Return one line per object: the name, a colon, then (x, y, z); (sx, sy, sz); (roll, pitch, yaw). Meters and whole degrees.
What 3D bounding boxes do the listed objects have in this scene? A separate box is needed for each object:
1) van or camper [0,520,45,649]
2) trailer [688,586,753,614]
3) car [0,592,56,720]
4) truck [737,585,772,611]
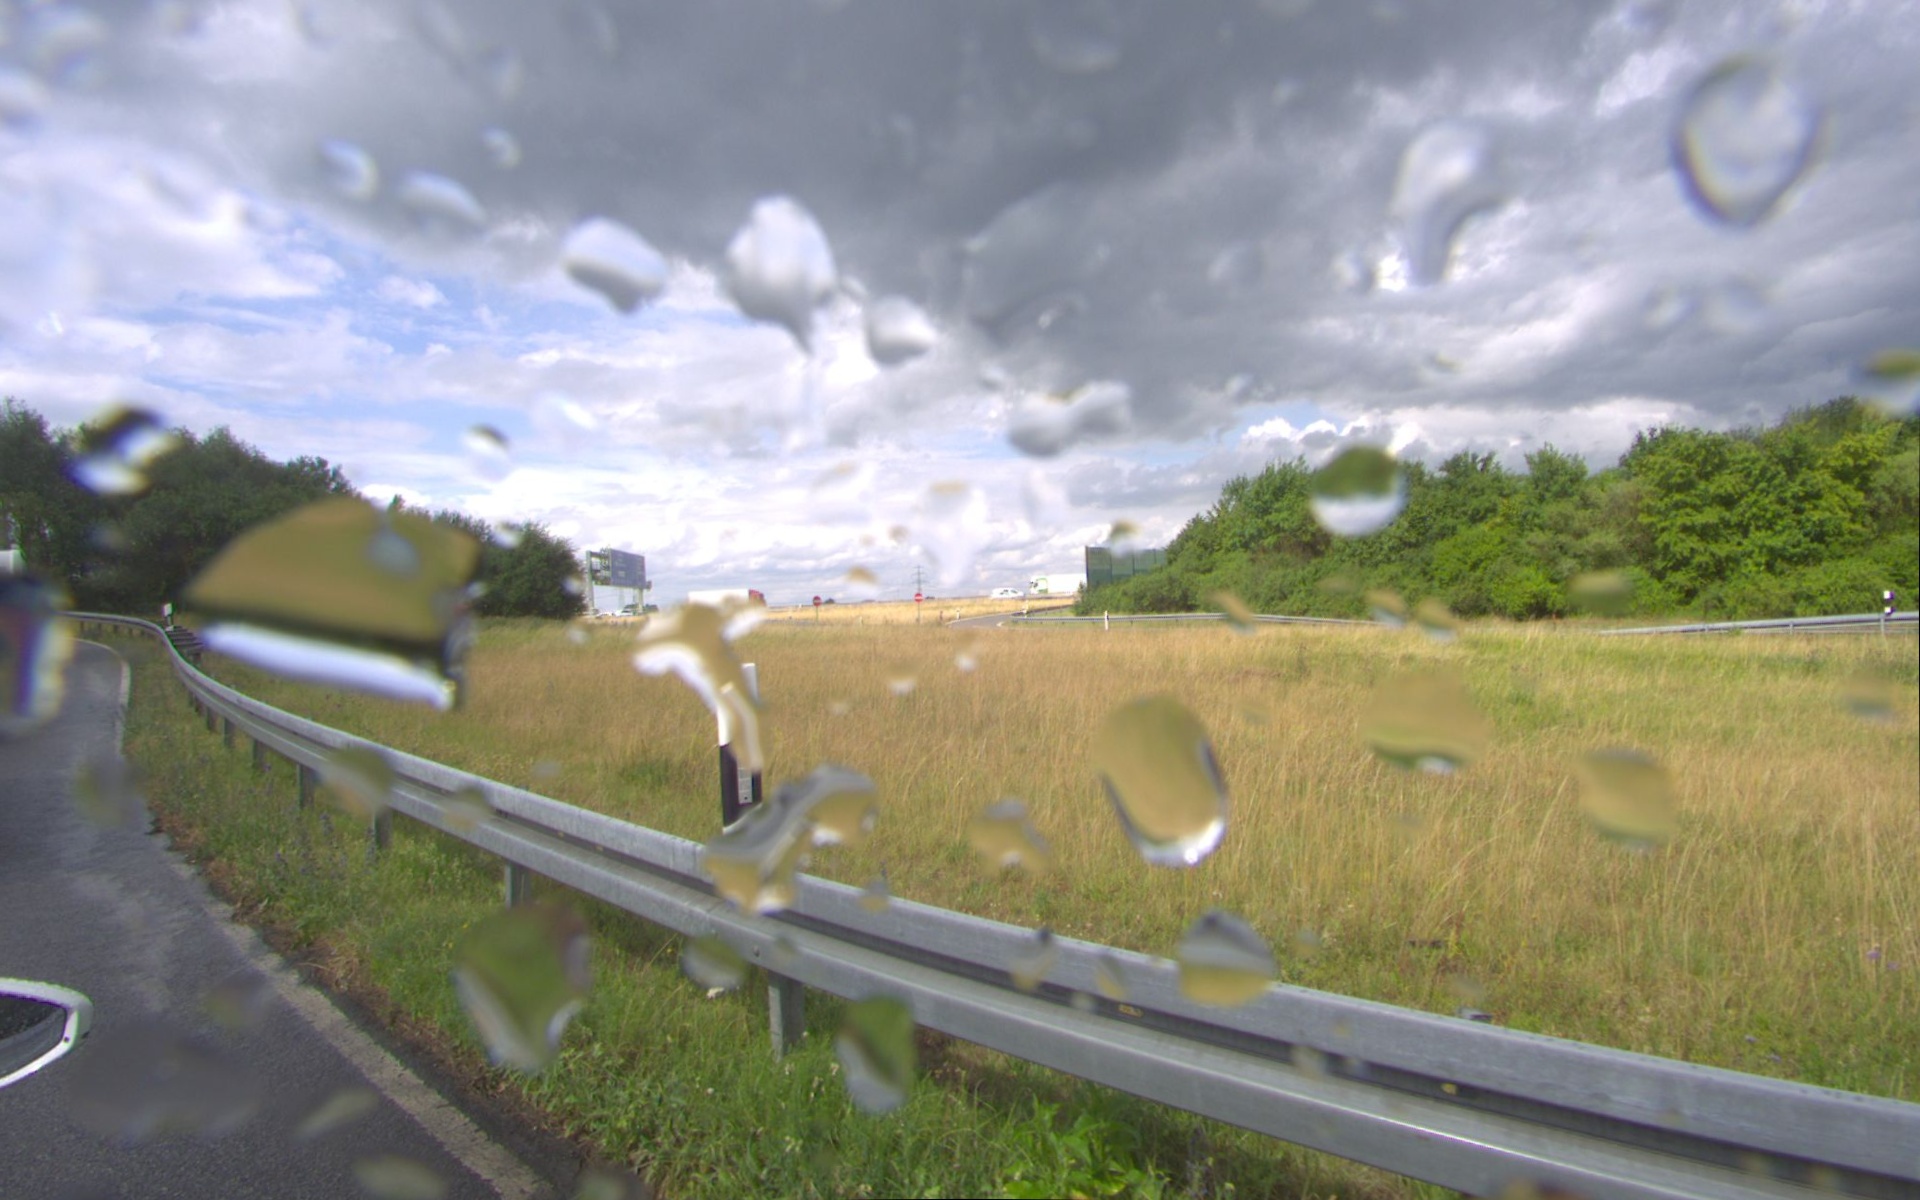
van or camper: (-23.088, -0.258, 23.329); (2.412, 2.764, 5.950); (1, -2, -41)
trailer: (-32.617, 0.057, 136.634); (8.044, 3.251, 3.192); (-3, -1, -4)
car: (-13.225, 0.703, 13.211); (1.704, 1.545, 3.967); (-1, 0, -39)
truck: (-28.061, -0.281, 136.978); (4.210, 3.174, 3.202); (-3, -1, -4)
